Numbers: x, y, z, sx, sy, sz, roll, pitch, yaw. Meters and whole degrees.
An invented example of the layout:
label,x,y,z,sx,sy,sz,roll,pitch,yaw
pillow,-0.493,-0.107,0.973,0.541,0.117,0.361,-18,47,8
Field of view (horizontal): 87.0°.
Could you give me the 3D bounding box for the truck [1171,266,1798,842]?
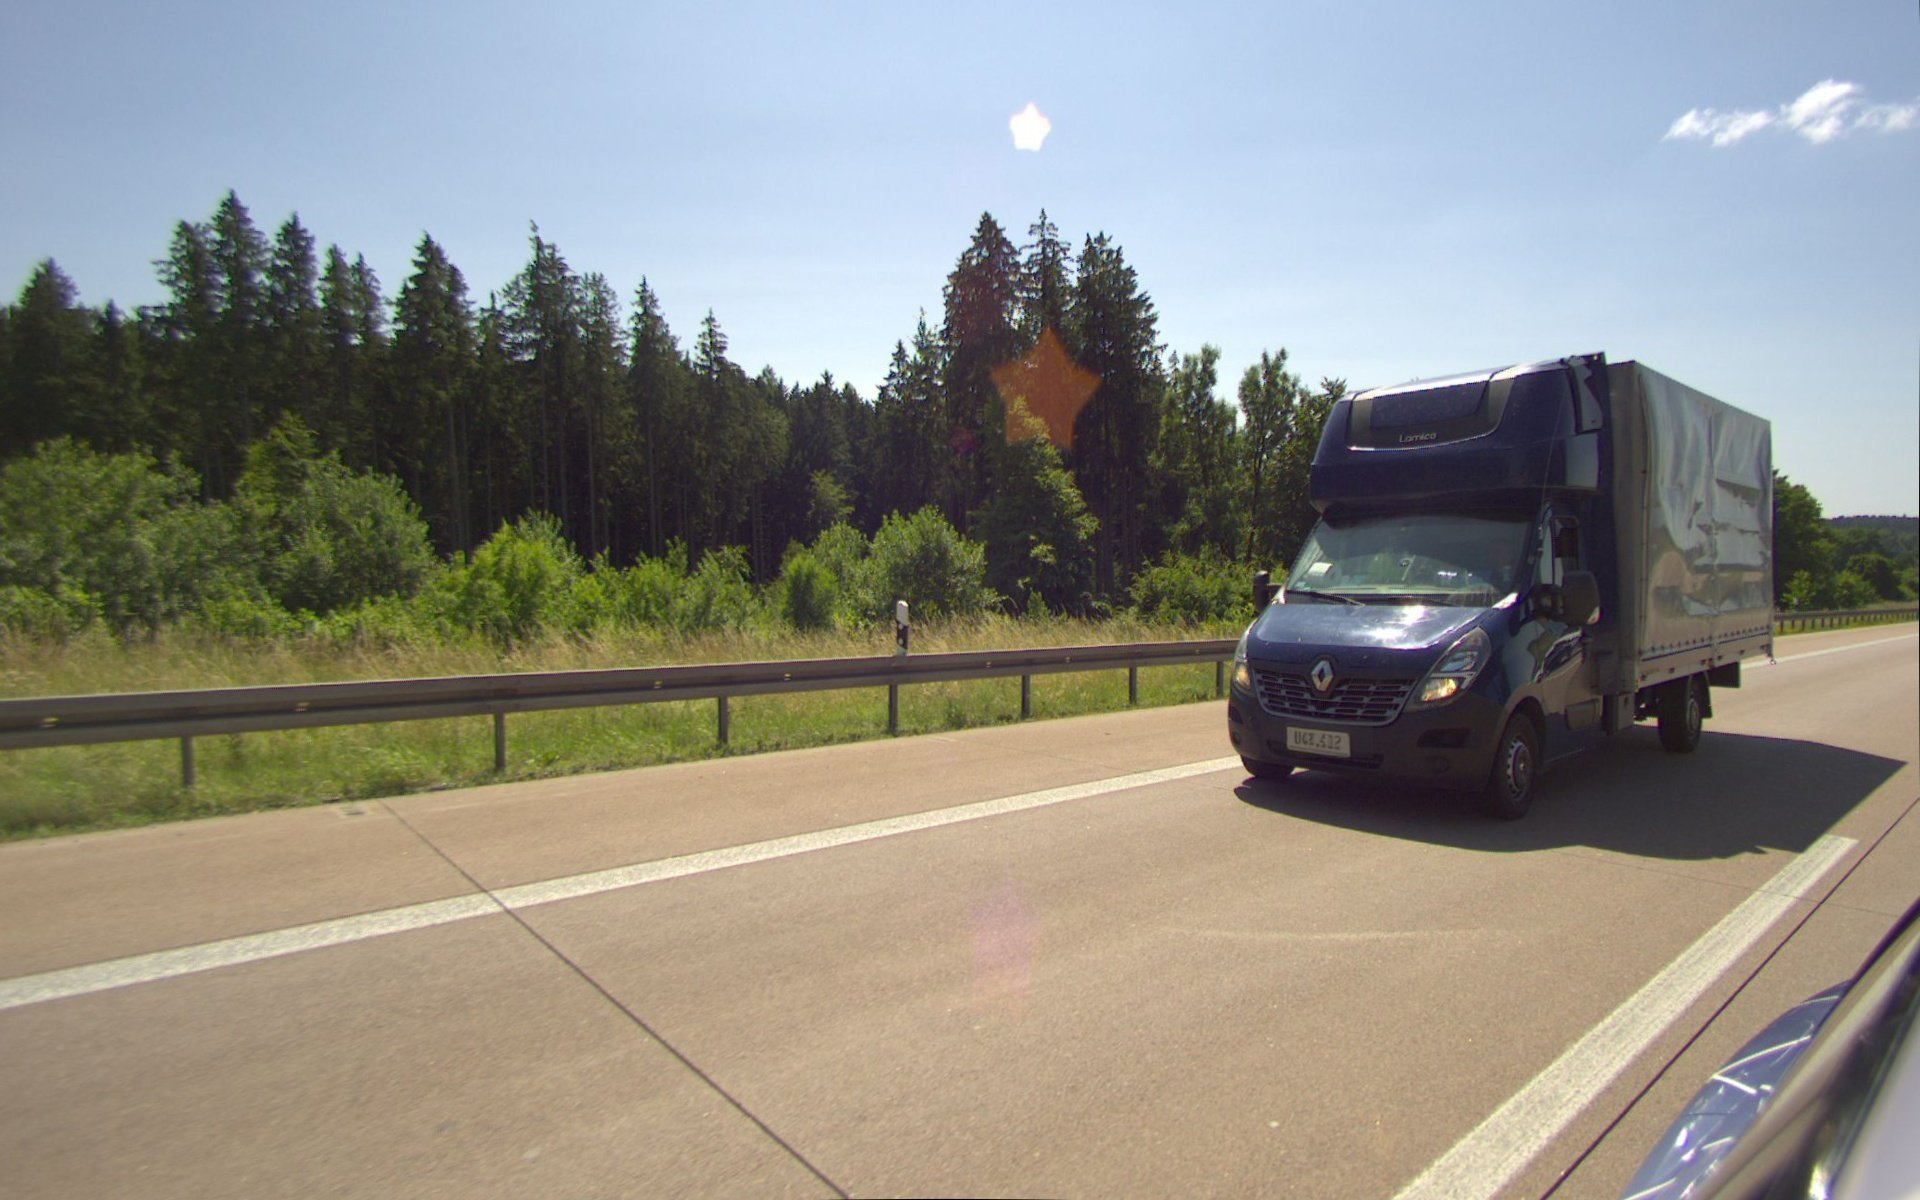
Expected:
label,x,y,z,sx,sy,sz,roll,pitch,yaw
truck,5.272,-0.298,9.222,7.650,3.259,2.506,0,1,-42
